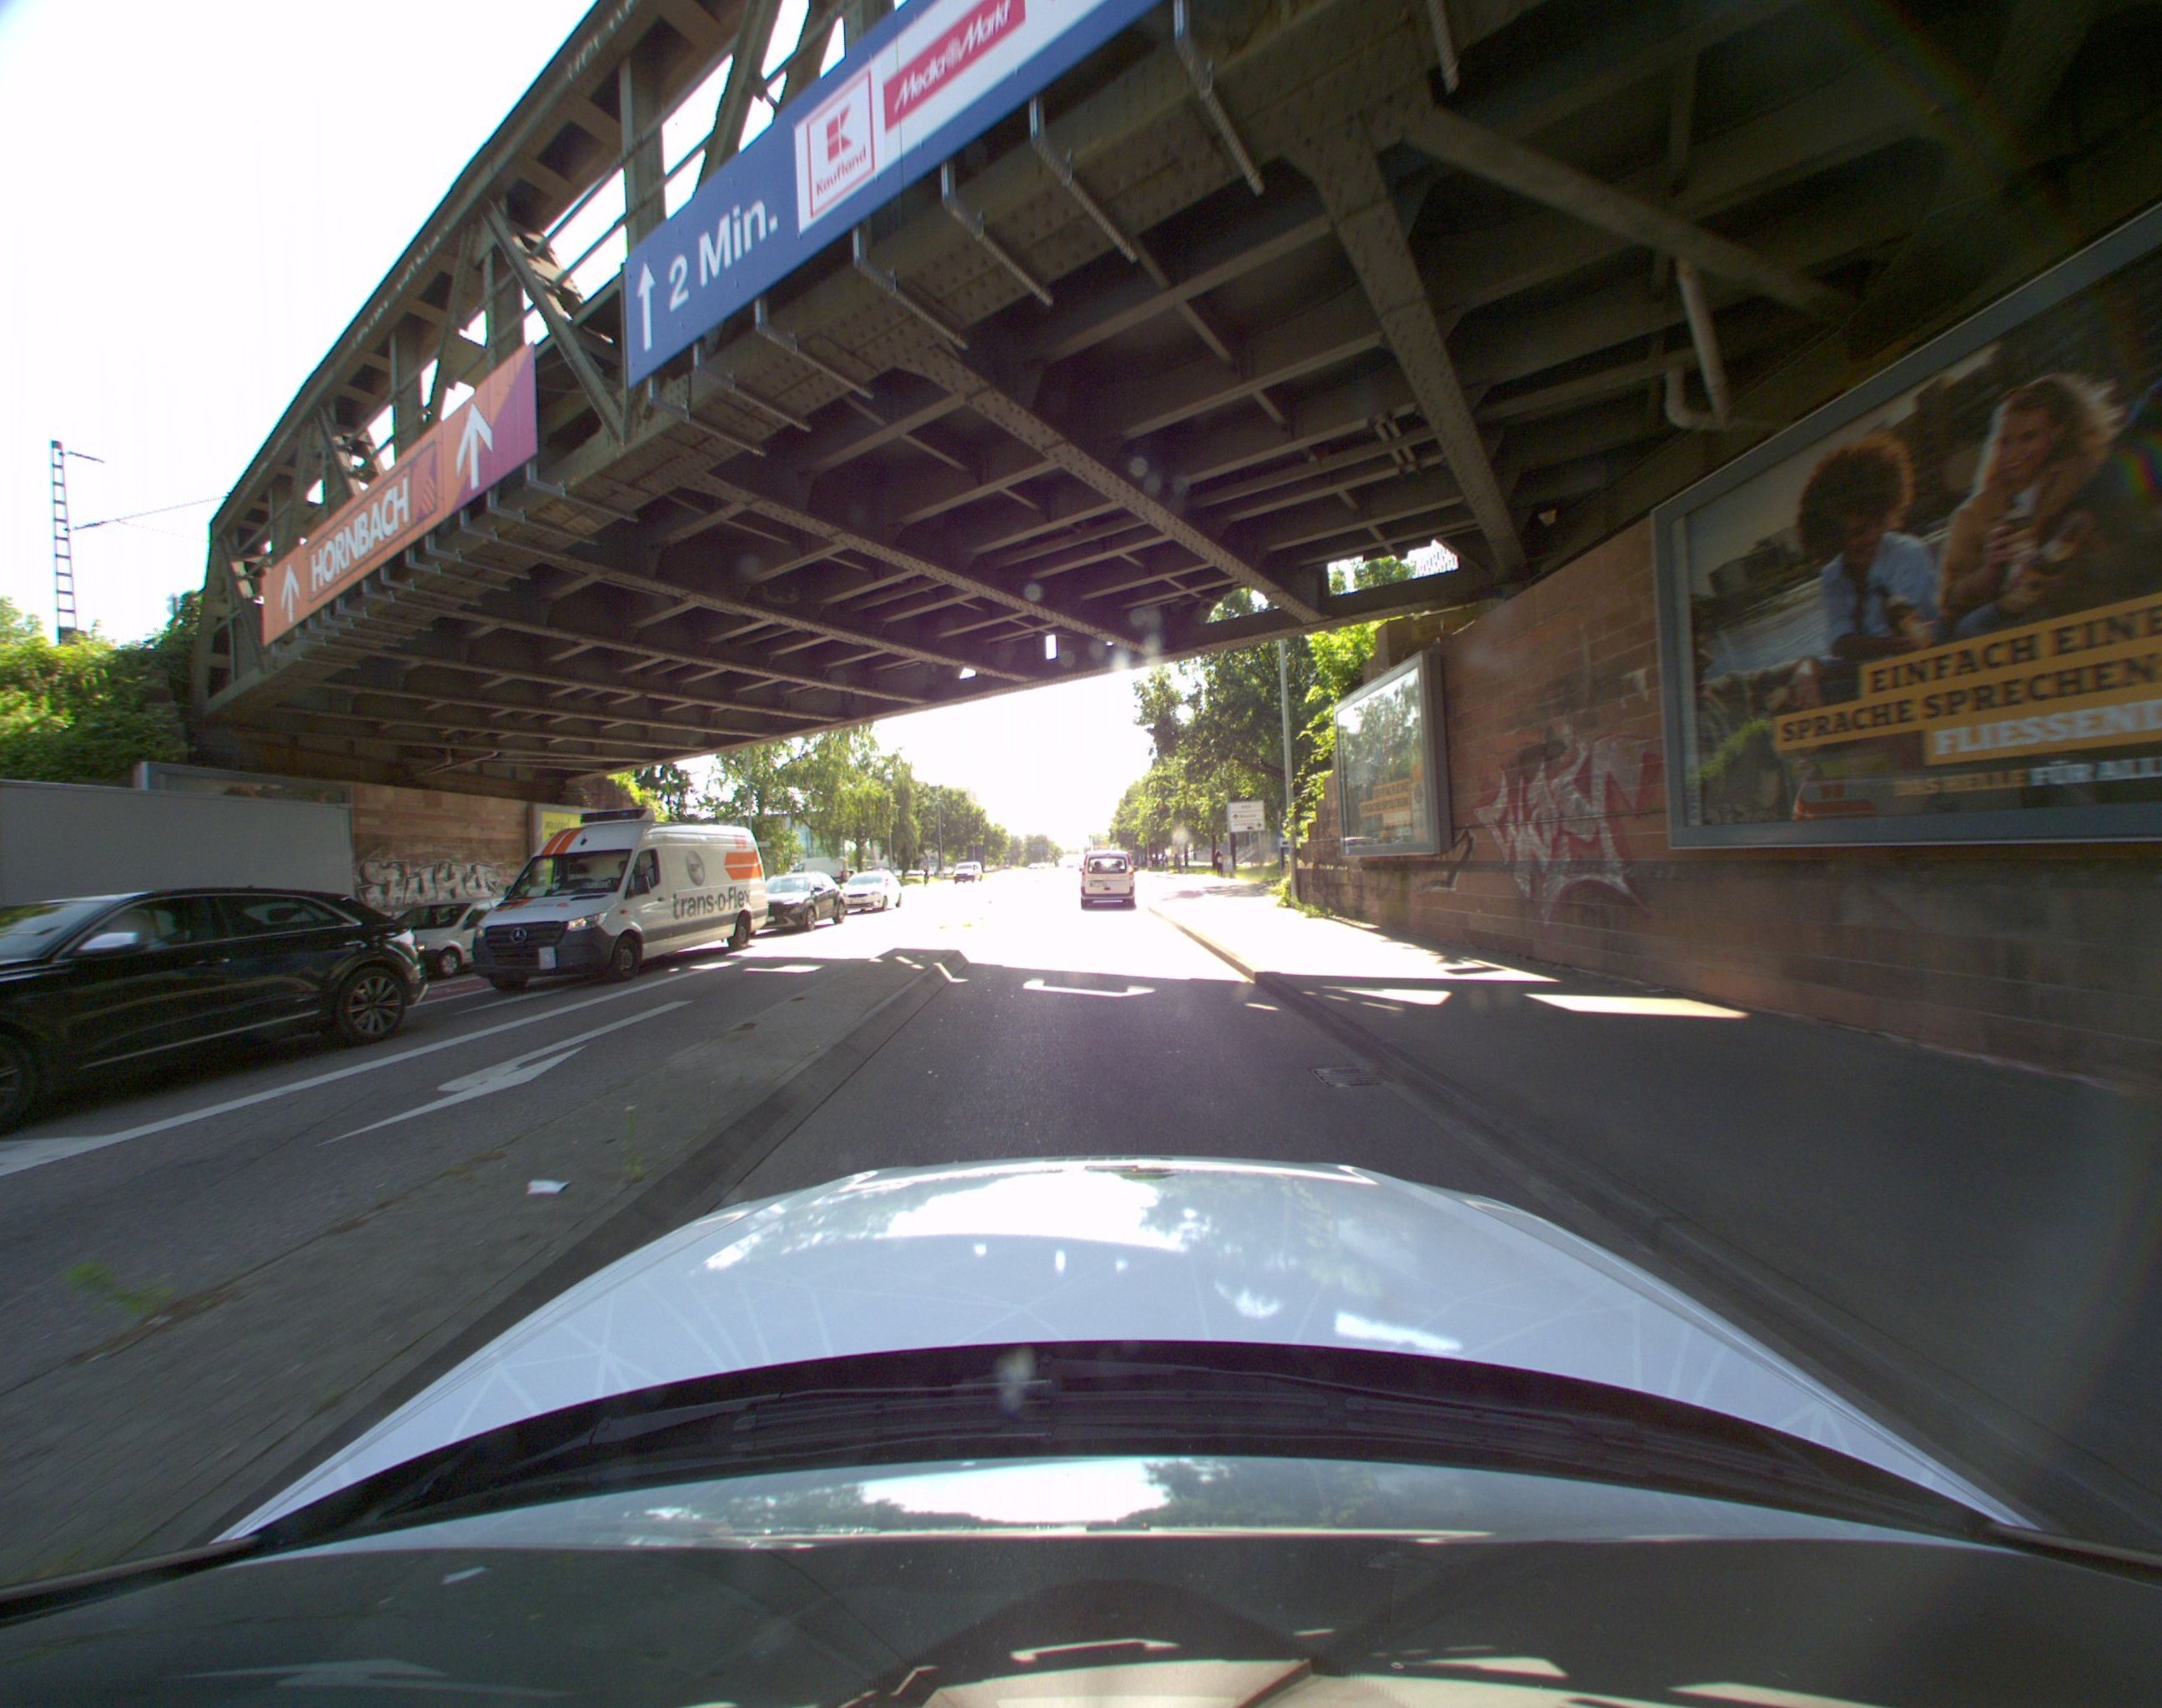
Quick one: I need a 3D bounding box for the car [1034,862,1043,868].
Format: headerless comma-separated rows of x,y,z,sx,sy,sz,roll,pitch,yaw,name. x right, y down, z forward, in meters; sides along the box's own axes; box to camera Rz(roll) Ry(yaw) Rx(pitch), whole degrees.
-10.889,2.842,209.357,1.835,1.463,4.999,-5,-1,0,car

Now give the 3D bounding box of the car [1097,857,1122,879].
2.331,1.089,66.061,1.799,1.640,4.462,-3,-1,3,car

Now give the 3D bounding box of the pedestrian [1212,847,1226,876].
8.083,0.437,47.698,0.644,1.603,0.847,-3,-1,1,pedestrian

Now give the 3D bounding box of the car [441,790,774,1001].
-7.952,0.607,14.900,1.988,2.805,6.932,-5,0,-2,car

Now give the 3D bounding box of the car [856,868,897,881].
-24.032,2.391,95.687,4.250,1.381,1.955,-3,-1,2,car

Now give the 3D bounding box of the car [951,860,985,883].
-10.799,1.630,78.340,1.984,2.013,5.353,-3,0,5,car

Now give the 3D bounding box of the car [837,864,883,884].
-23.716,2.154,87.369,4.250,1.884,1.955,-3,-1,2,car

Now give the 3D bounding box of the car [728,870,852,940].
-7.830,1.312,22.350,1.763,1.494,4.178,-4,1,0,car

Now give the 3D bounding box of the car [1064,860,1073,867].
-3.097,2.367,198.053,1.987,1.684,4.000,-3,-1,1,car

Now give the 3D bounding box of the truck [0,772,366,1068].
-12.539,0.745,9.501,2.336,3.088,7.061,-2,-1,-3,truck

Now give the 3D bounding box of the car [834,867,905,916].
-7.888,1.353,30.708,1.638,1.494,3.827,-4,1,-1,car

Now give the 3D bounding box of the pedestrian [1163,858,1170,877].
8.274,1.297,79.164,0.533,1.842,0.727,-3,-1,0,pedestrian

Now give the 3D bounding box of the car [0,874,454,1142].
-8.043,1.095,6.582,1.986,1.681,4.951,-3,-1,1,car

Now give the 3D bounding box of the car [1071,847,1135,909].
0.717,0.756,27.166,1.899,1.829,4.180,-3,-1,1,car

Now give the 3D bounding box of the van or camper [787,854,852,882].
-24.199,1.247,75.437,5.365,2.470,1.998,0,0,-3,van or camper

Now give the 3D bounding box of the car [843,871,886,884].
-24.614,2.677,92.797,4.250,1.328,1.955,-3,-1,2,car

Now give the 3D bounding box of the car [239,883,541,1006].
-12.854,1.571,15.612,1.977,1.689,4.288,-4,1,0,car
